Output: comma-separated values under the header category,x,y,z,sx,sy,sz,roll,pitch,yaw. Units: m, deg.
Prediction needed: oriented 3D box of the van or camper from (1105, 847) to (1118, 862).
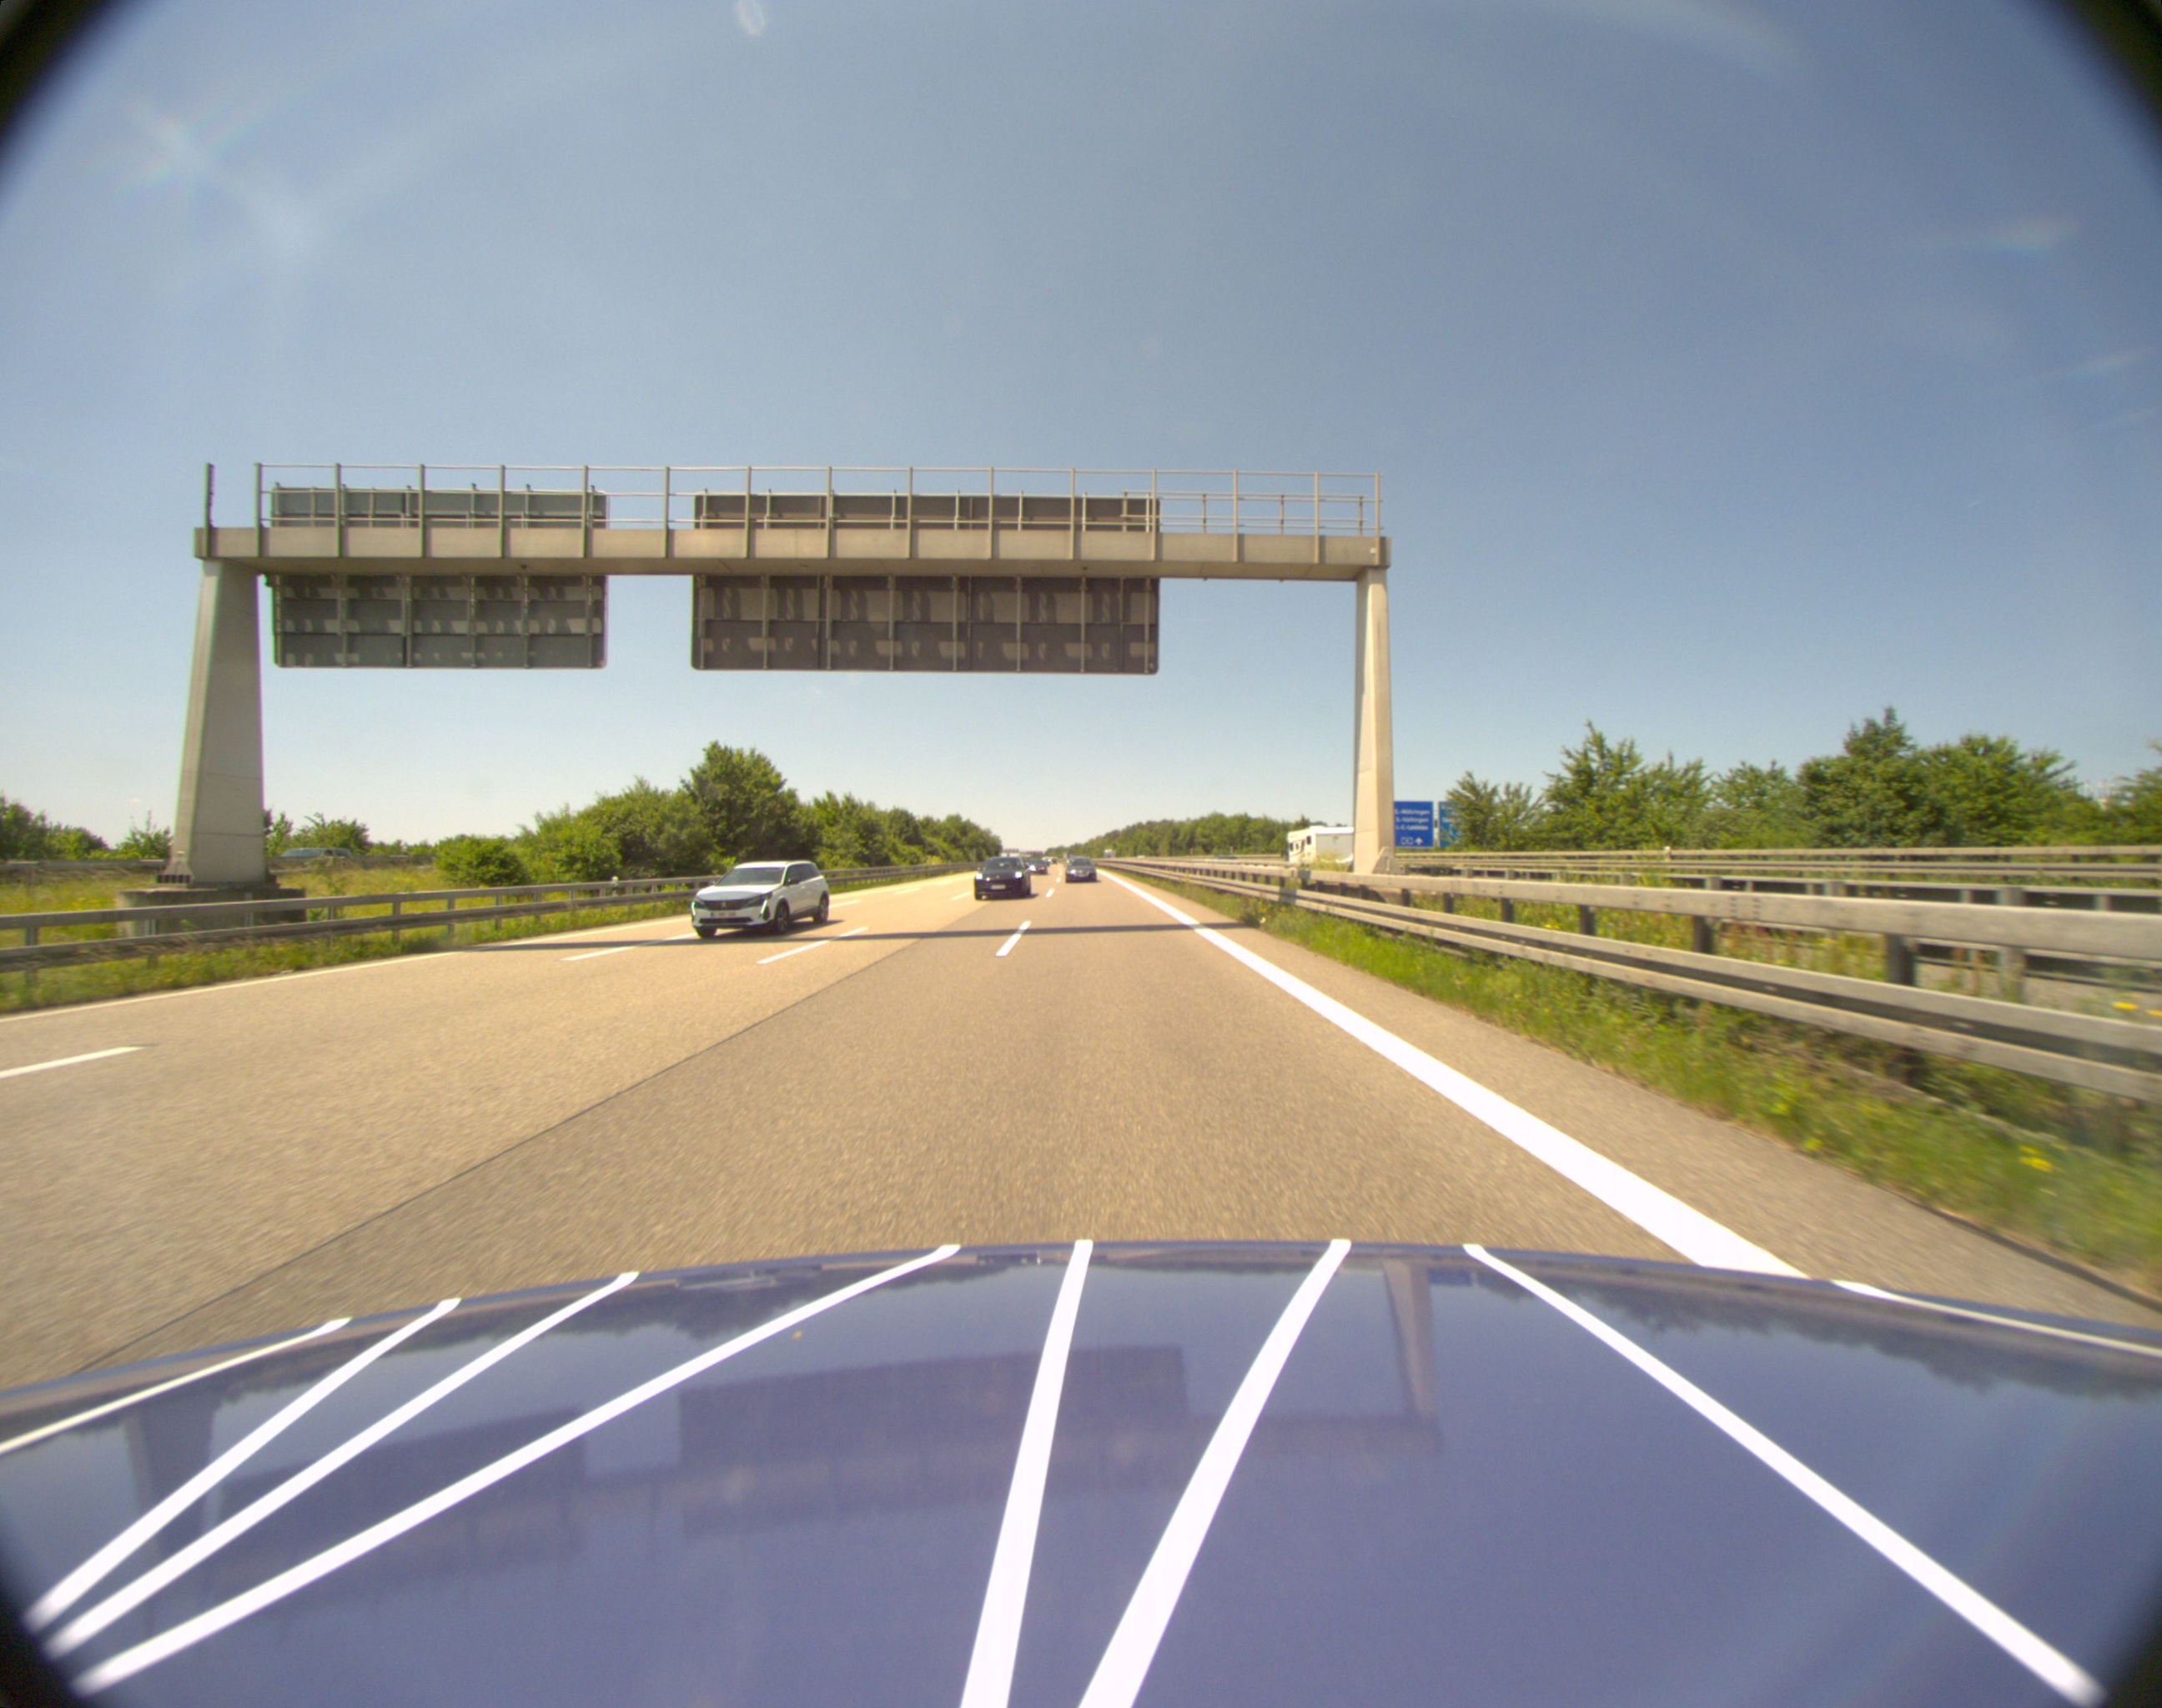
category,x,y,z,sx,sy,sz,roll,pitch,yaw
van or camper,6.964,0.198,174.138,2.320,3.292,6.831,-2,0,-2

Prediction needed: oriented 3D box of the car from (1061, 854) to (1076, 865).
category,x,y,z,sx,sy,sz,roll,pitch,yaw
car,-1.647,0.719,105.213,1.931,1.390,4.117,-2,0,0

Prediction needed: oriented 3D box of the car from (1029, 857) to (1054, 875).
category,x,y,z,sx,sy,sz,roll,pitch,yaw
car,-3.438,1.044,66.503,1.931,1.390,4.117,-2,0,0

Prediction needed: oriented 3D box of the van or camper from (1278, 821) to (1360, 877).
category,x,y,z,sx,sy,sz,roll,pitch,yaw
van or camper,14.369,-0.299,46.547,2.450,3.069,8.122,-2,0,1

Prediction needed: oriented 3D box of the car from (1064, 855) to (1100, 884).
category,x,y,z,sx,sy,sz,roll,pitch,yaw
car,0.099,0.862,44.661,1.931,1.499,4.391,-2,0,2

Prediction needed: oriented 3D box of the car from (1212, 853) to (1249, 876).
category,x,y,z,sx,sy,sz,roll,pitch,yaw
car,9.834,0.675,50.382,1.602,1.407,4.264,-2,0,0

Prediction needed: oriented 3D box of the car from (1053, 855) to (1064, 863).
category,x,y,z,sx,sy,sz,roll,pitch,yaw
car,-5.632,1.333,188.406,2.000,1.849,3.996,-2,1,-11

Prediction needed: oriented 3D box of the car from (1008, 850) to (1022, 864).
category,x,y,z,sx,sy,sz,roll,pitch,yaw
car,-9.386,0.392,108.781,1.809,1.908,4.293,-2,0,-3

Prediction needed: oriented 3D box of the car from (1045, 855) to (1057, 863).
category,x,y,z,sx,sy,sz,roll,pitch,yaw
car,-5.497,0.984,140.496,1.931,1.390,4.117,-2,0,1

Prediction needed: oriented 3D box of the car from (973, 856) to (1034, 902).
category,x,y,z,sx,sy,sz,roll,pitch,yaw
car,-2.973,0.905,29.845,1.931,1.586,4.131,-2,0,0

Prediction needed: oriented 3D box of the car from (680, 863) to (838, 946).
category,x,y,z,sx,sy,sz,roll,pitch,yaw
car,-7.422,1.074,18.063,1.748,1.582,4.619,-2,0,0

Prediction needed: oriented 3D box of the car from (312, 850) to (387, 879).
category,x,y,z,sx,sy,sz,roll,pitch,yaw
car,-42.118,0.592,43.884,1.707,1.566,4.120,-2,1,-23
